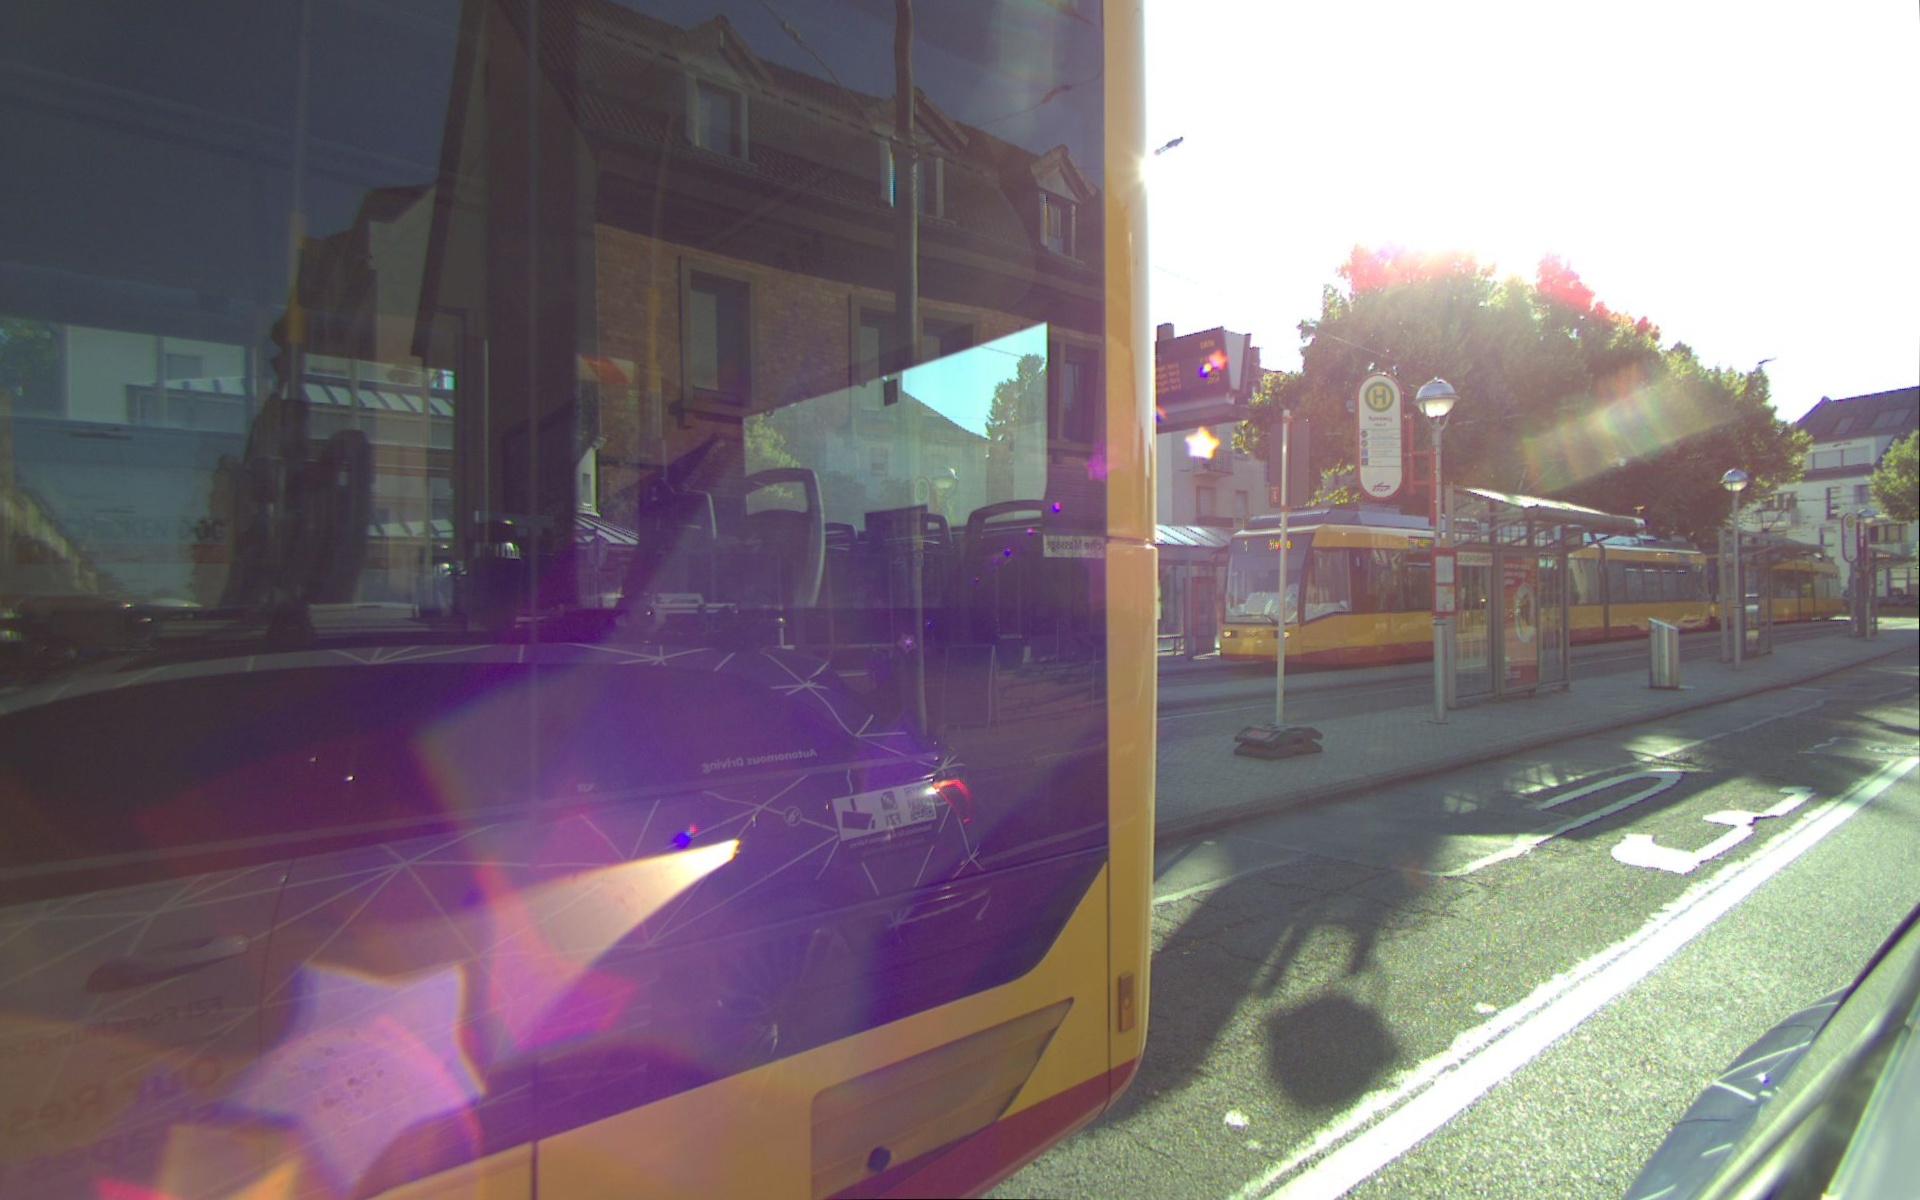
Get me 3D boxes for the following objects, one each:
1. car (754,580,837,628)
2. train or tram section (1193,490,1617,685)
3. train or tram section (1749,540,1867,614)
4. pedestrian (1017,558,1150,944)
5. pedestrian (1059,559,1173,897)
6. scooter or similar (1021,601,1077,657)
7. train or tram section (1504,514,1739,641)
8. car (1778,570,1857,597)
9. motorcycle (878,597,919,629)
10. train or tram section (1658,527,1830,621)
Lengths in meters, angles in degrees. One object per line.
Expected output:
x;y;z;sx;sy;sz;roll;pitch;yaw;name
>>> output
-6.837;0.107;41.782;1.961;1.837;4.002;-1;2;-33;car
11.744;-0.461;24.834;15.690;3.578;2.963;-2;2;-40;train or tram section
44.596;-1.116;52.971;13.233;3.464;2.961;0;1;-42;train or tram section
0.582;0.635;4.651;0.537;1.633;0.633;0;0;13;pedestrian
0.817;0.617;5.223;0.537;1.633;0.547;0;0;13;pedestrian
1.998;0.647;22.764;1.184;1.223;0.468;0;0;-28;scooter or similar
22.592;-0.831;34.000;13.228;3.578;2.963;-2;2;-40;train or tram section
66.278;-1.292;78.313;1.958;1.981;4.281;0;1;-20;car
-2.360;0.496;38.547;0.548;1.177;1.824;0;0;-41;motorcycle
34.228;-1.031;43.740;15.662;3.464;2.962;0;1;-41;train or tram section
